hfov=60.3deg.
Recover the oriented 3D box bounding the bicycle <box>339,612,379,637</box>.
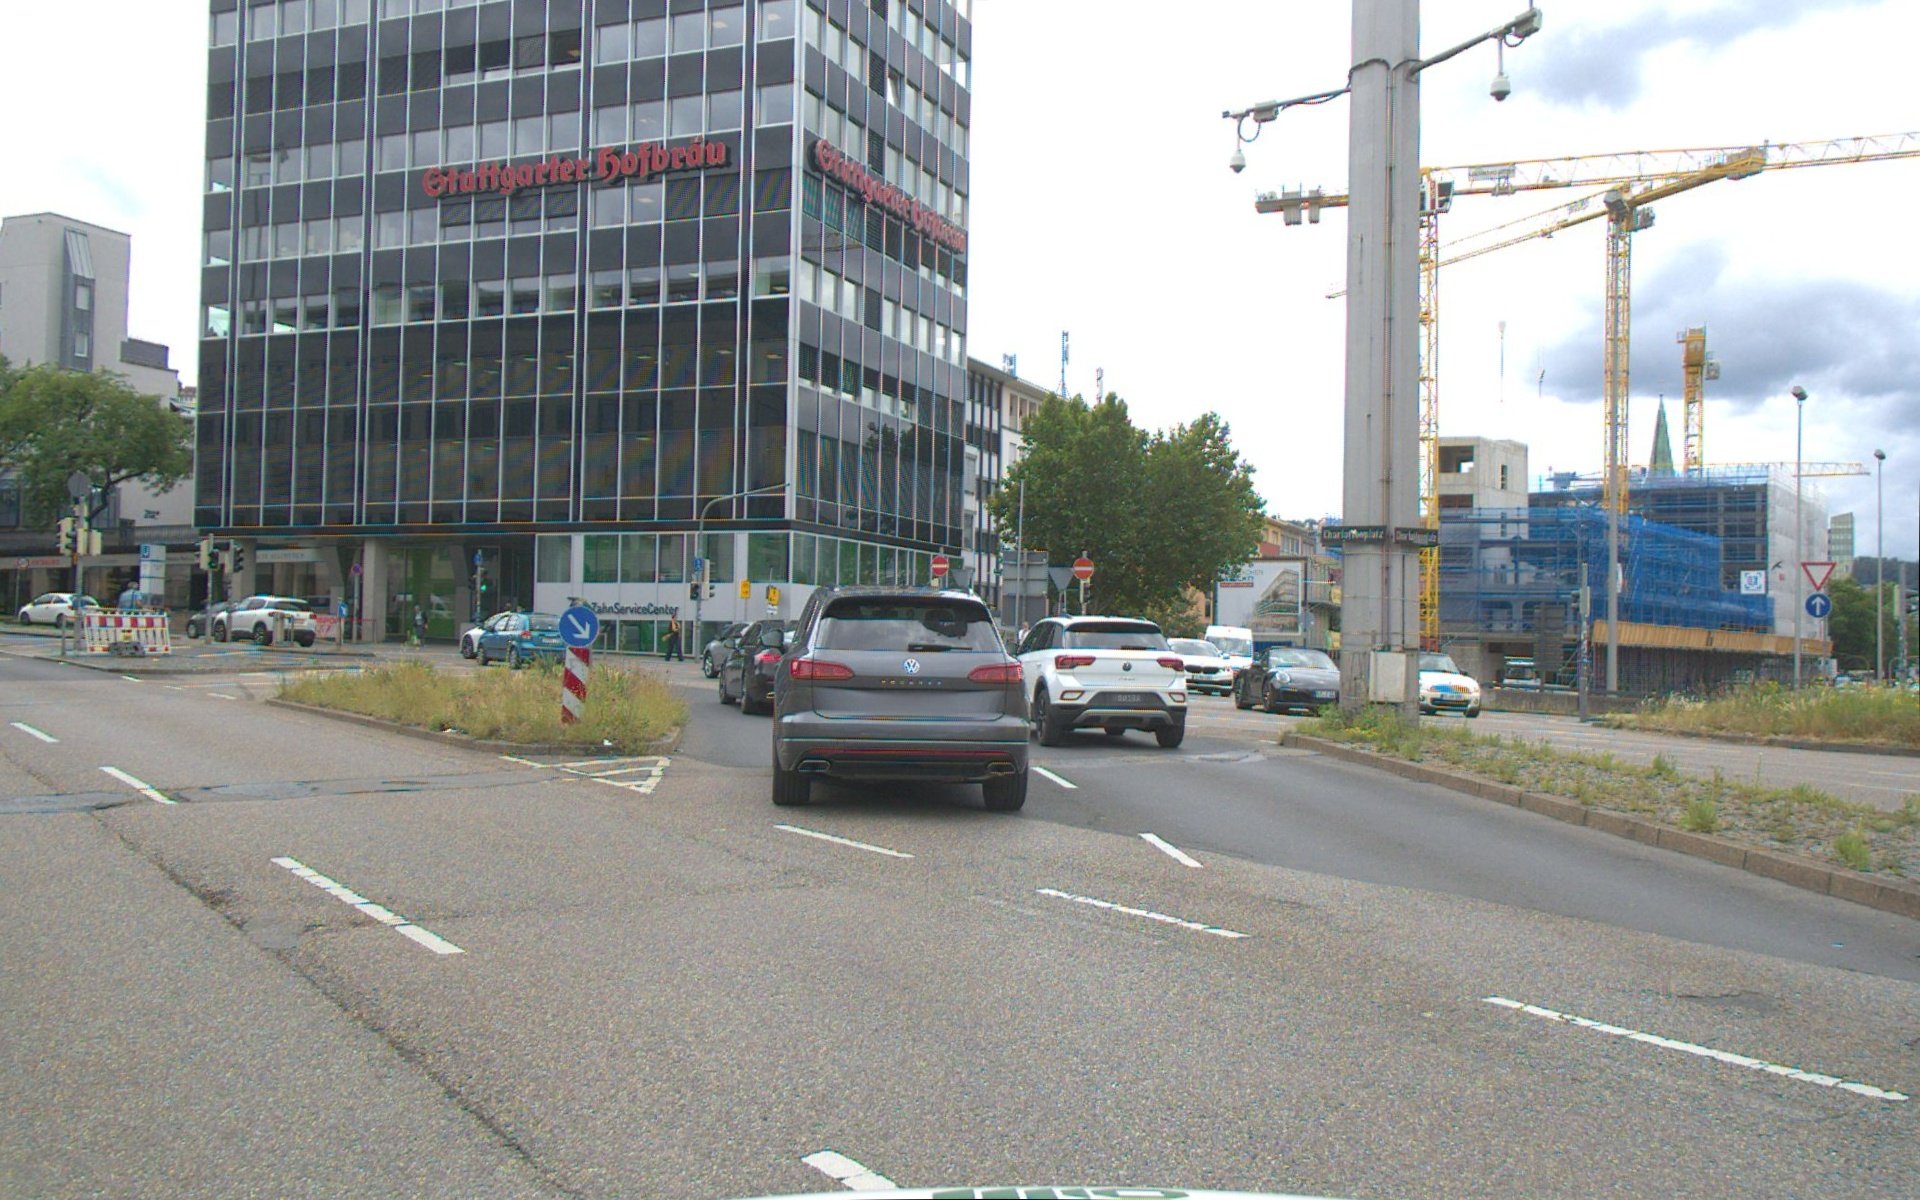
[{"bbox_3d":[-26.383,1.075,72.579,1.450,1.066,0.714,2,-1,7],"label":"bicycle"}]

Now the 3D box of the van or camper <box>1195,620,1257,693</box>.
[{"bbox_3d":[10.013,2.134,62.687,2.095,2.520,6.165,3,-1,8],"label":"van or camper"}]

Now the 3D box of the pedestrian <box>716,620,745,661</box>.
[{"bbox_3d":[-8.378,1.466,60.403,0.819,1.468,0.605,1,-1,24],"label":"pedestrian"}]

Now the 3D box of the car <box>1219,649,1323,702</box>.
[{"bbox_3d":[9.102,2.187,48.782,1.720,1.357,4.405,3,-2,-7],"label":"car"}]

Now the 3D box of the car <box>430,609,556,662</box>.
[{"bbox_3d":[-14.806,1.118,52.393,3.687,1.544,1.833,1,-1,32],"label":"car"}]

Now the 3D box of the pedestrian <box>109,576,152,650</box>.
[{"bbox_3d":[-20.873,0.315,41.611,0.620,1.821,0.717,3,2,28],"label":"pedestrian"}]

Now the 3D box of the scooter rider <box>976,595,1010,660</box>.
[{"bbox_3d":[0.894,0.749,44.550,0.728,1.724,0.767,2,-2,12],"label":"scooter rider"}]

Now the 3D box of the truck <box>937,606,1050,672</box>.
[{"bbox_3d":[1.840,2.073,85.265,2.293,3.117,8.187,1,-2,28],"label":"truck"}]

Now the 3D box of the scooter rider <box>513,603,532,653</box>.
[{"bbox_3d":[-16.321,1.049,61.699,0.630,1.840,0.591,1,-1,-13],"label":"scooter rider"}]

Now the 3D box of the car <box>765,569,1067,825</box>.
[{"bbox_3d":[-0.537,0.675,13.527,1.933,1.725,4.216,2,0,-9],"label":"car"}]

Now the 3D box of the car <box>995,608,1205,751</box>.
[{"bbox_3d":[1.663,0.929,20.994,1.764,1.572,3.927,2,0,-9],"label":"car"}]

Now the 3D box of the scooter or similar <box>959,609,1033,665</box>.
[{"bbox_3d":[0.975,0.996,44.527,1.842,1.431,0.777,2,-2,12],"label":"scooter or similar"}]

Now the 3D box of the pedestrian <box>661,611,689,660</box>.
[{"bbox_3d":[-10.343,1.280,60.021,0.783,1.727,0.548,1,-1,23],"label":"pedestrian"}]

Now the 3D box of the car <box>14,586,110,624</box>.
[{"bbox_3d":[-37.958,0.210,69.879,4.250,1.443,2.053,2,0,38],"label":"car"}]

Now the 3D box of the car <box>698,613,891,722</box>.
[{"bbox_3d":[-2.665,0.996,25.774,1.808,1.420,4.119,4,-1,-22],"label":"car"}]

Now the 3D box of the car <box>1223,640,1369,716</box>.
[{"bbox_3d":[6.560,1.498,32.719,1.639,1.286,4.051,-1,0,-7],"label":"car"}]

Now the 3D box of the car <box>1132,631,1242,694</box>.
[{"bbox_3d":[6.103,1.681,45.030,1.954,1.531,5.035,3,-2,-4],"label":"car"}]

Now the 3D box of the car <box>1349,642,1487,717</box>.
[{"bbox_3d":[10.167,1.736,36.970,1.691,1.443,3.642,3,0,-6],"label":"car"}]

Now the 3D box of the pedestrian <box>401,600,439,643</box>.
[{"bbox_3d":[-21.673,0.858,66.435,0.940,1.662,1.067,1,-1,22],"label":"pedestrian"}]

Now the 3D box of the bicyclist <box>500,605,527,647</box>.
[{"bbox_3d":[-16.972,0.979,62.854,0.826,1.577,0.565,1,-1,-1],"label":"bicyclist"}]

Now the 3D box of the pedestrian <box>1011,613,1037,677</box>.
[{"bbox_3d":[1.846,1.298,47.821,0.627,1.828,0.611,3,-2,5],"label":"pedestrian"}]

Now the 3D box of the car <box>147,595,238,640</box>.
[{"bbox_3d":[-29.678,0.663,63.916,3.930,1.601,1.854,1,0,43],"label":"car"}]

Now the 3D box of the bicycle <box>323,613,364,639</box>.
[{"bbox_3d":[-26.774,1.124,71.843,1.450,1.066,0.714,2,-1,7],"label":"bicycle"}]

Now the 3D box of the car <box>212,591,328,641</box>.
[{"bbox_3d":[-23.561,0.549,56.470,3.687,1.594,1.833,1,-1,32],"label":"car"}]

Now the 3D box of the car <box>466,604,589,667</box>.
[{"bbox_3d":[-11.607,0.945,44.266,1.820,1.544,3.715,2,-1,-39],"label":"car"}]

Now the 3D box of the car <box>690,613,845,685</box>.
[{"bbox_3d":[-4.734,1.164,40.218,1.821,1.457,4.091,5,-1,-38],"label":"car"}]
